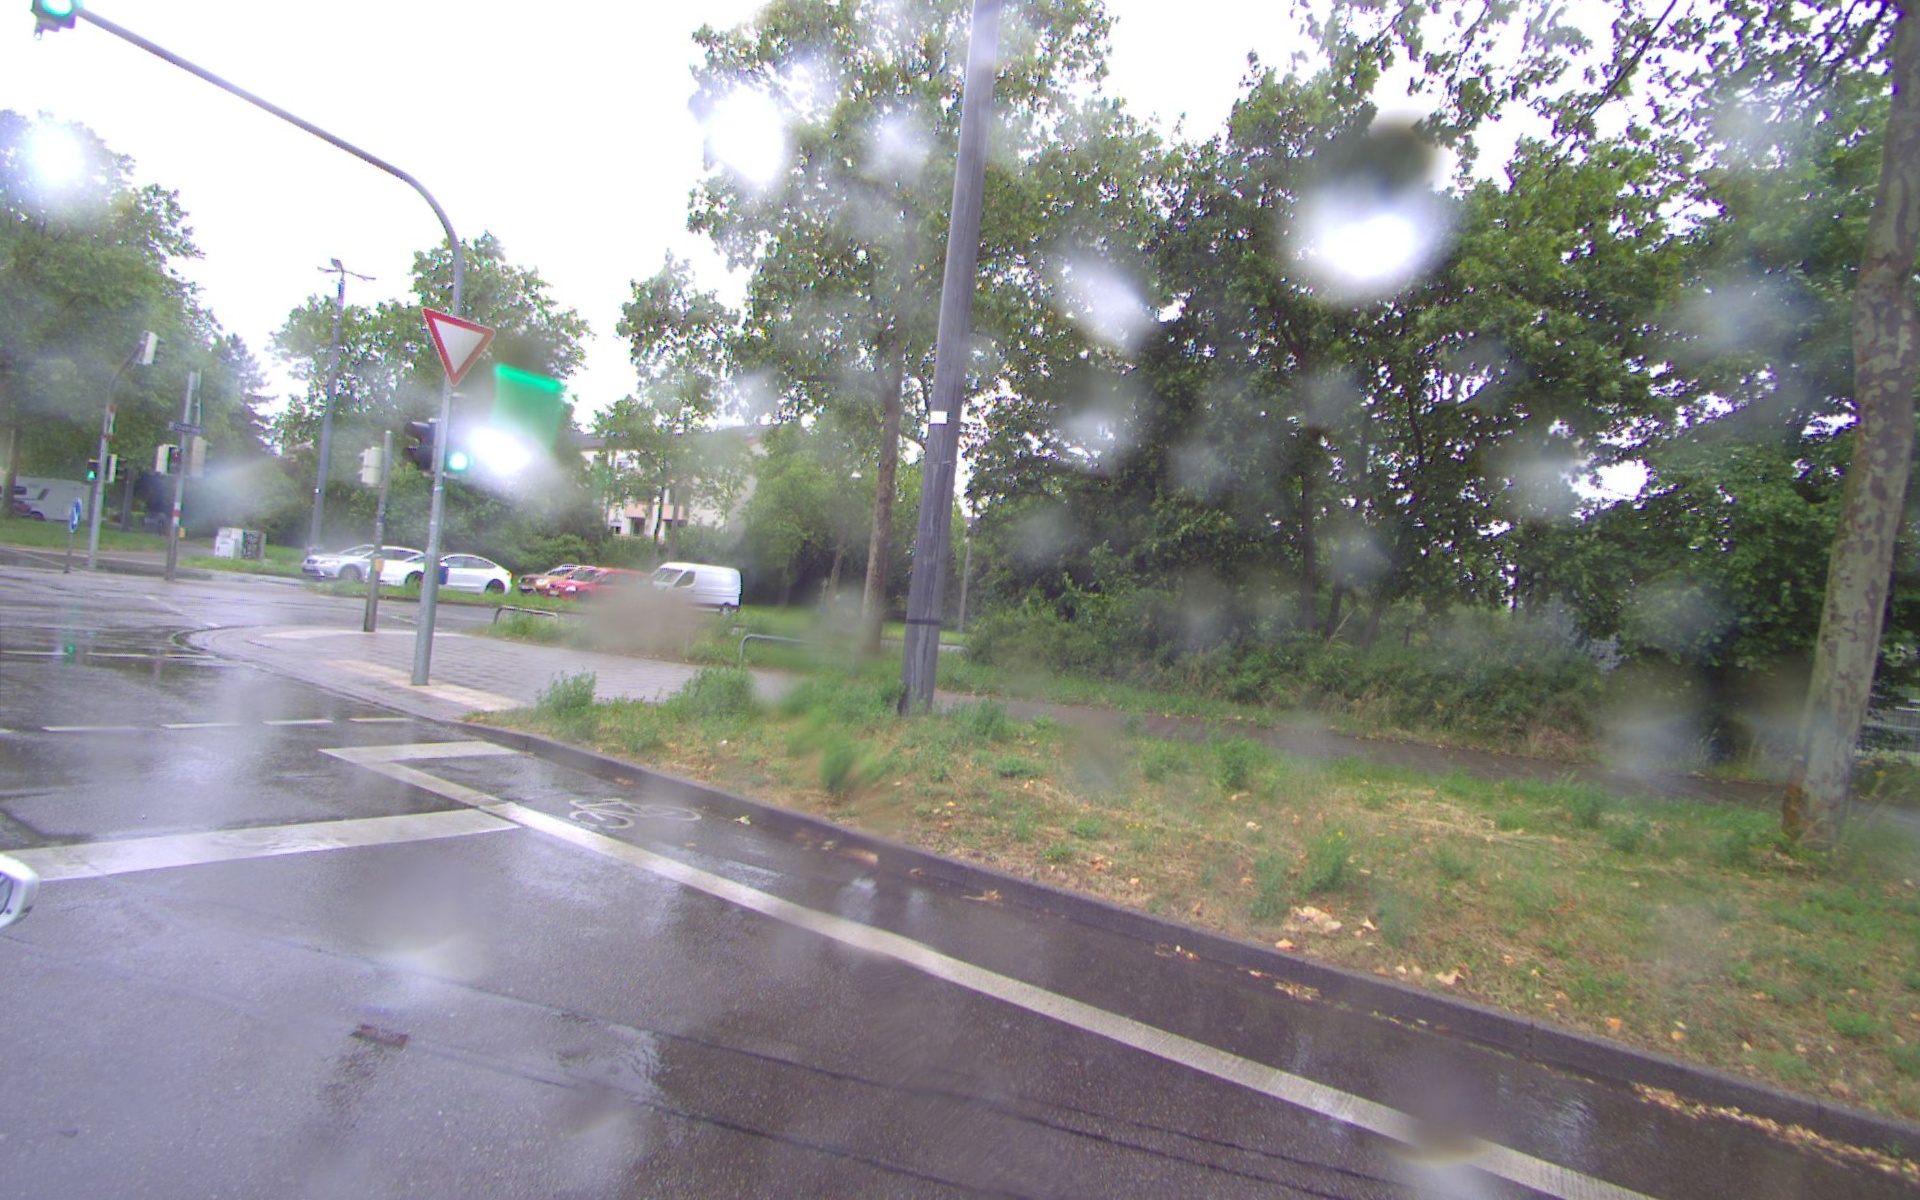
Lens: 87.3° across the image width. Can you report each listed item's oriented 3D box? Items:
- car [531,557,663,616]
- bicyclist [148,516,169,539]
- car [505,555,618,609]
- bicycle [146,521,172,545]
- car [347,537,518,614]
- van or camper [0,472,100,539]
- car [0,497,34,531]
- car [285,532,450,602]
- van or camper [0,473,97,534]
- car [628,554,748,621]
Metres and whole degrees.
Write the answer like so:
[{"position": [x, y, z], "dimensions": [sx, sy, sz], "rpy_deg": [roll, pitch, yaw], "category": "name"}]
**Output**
[{"position": [-13.836, -0.476, 38.625], "dimensions": [1.760, 1.625, 4.615], "rpy_deg": [6, -2, 29], "category": "car"}, {"position": [-55.783, -5.047, 69.978], "dimensions": [0.943, 1.441, 0.860], "rpy_deg": [6, -2, 42], "category": "bicyclist"}, {"position": [-16.365, -0.690, 41.487], "dimensions": [1.759, 1.625, 4.069], "rpy_deg": [7, -2, 26], "category": "car"}, {"position": [-55.493, -4.630, 69.669], "dimensions": [2.667, 1.441, 0.860], "rpy_deg": [6, -2, 42], "category": "bicycle"}, {"position": [-17.148, -0.742, 32.980], "dimensions": [1.900, 1.849, 4.608], "rpy_deg": [7, -2, 26], "category": "car"}, {"position": [-56.927, -5.913, 60.723], "dimensions": [7.296, 3.215, 3.226], "rpy_deg": [9, -2, -40], "category": "van or camper"}, {"position": [-55.816, -5.150, 57.128], "dimensions": [4.424, 1.736, 1.980], "rpy_deg": [9, -2, -37], "category": "car"}, {"position": [-20.123, -1.060, 34.383], "dimensions": [1.900, 1.710, 4.407], "rpy_deg": [7, -2, 26], "category": "car"}, {"position": [-63.164, -6.657, 67.559], "dimensions": [7.388, 3.215, 3.231], "rpy_deg": [9, -2, -36], "category": "van or camper"}, {"position": [-12.830, -0.514, 47.906], "dimensions": [1.966, 2.419, 5.619], "rpy_deg": [6, -2, 29], "category": "car"}]
